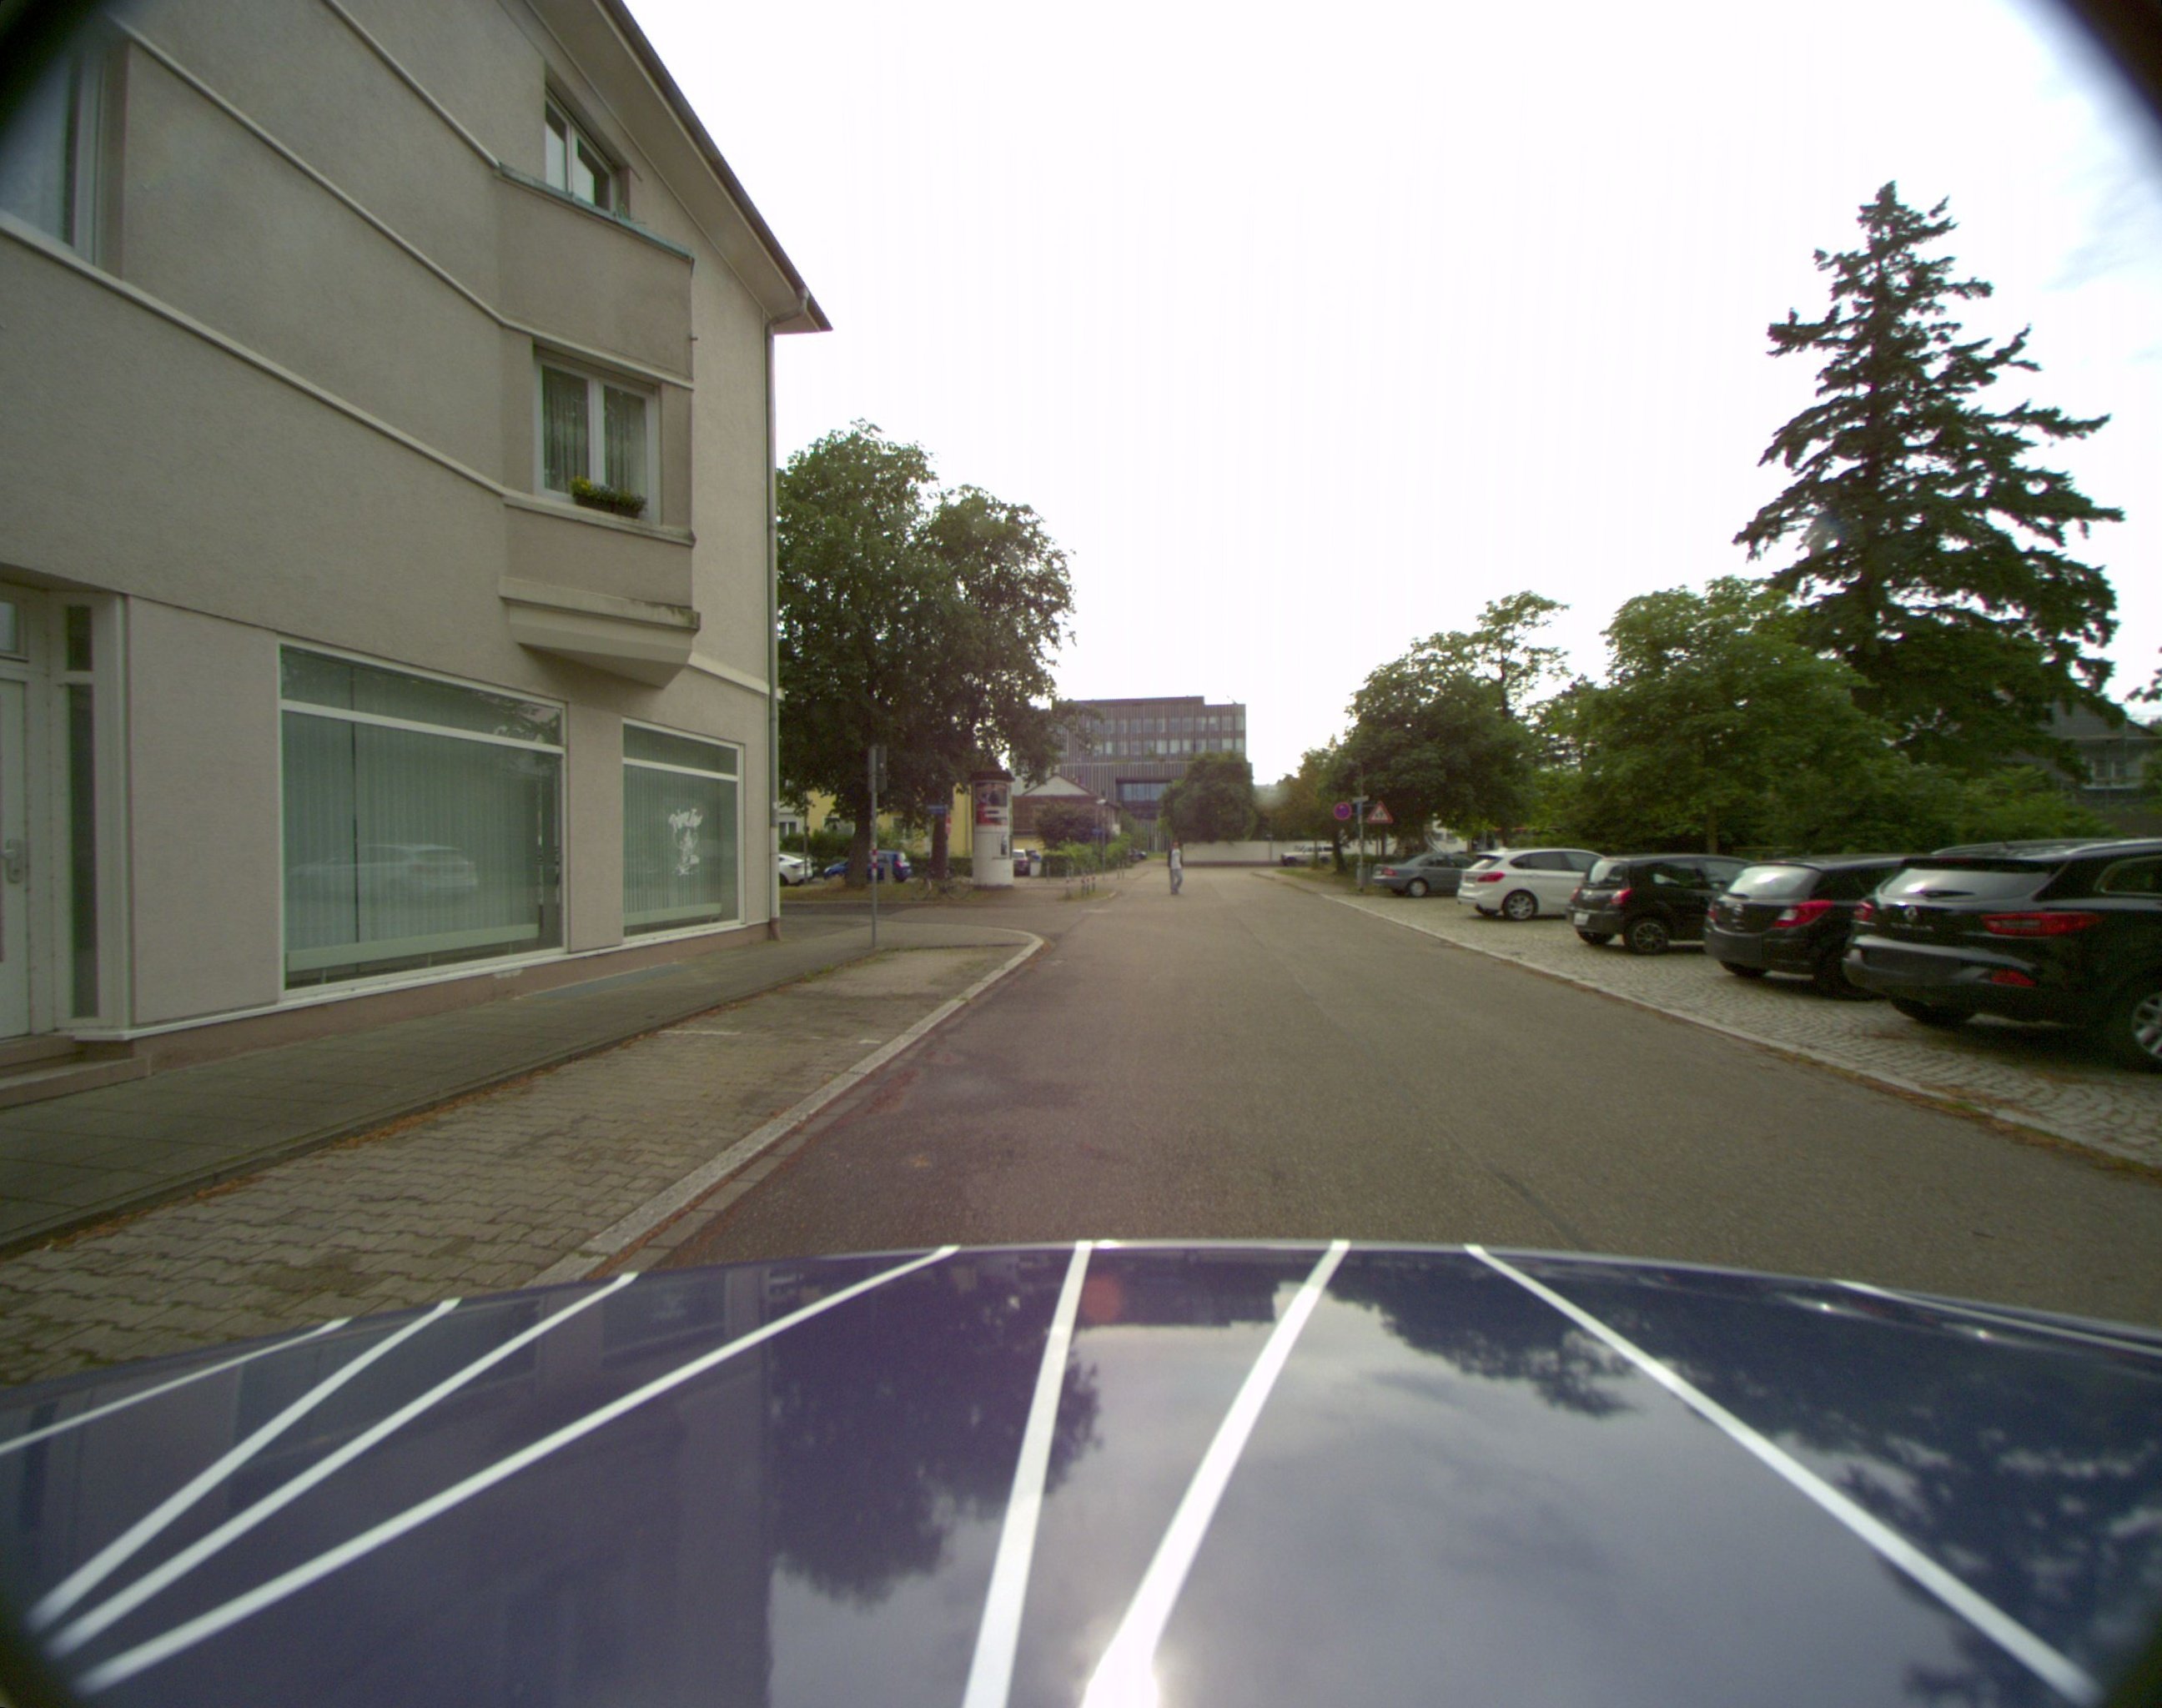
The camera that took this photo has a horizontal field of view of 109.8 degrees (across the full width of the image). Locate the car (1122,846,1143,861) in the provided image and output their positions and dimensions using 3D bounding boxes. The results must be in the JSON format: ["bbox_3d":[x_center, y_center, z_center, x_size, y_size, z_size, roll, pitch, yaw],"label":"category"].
[{"bbox_3d":[5.613,-0.045,81.938,1.997,1.391,4.000,0,3,8],"label":"car"}]

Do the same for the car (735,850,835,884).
[{"bbox_3d":[-14.551,0.636,37.493,4.163,1.492,1.719,-1,3,2],"label":"car"}]

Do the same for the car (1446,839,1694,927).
[{"bbox_3d":[10.611,0.604,16.776,4.143,1.552,1.885,-4,2,7],"label":"car"}]

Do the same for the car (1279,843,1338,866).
[{"bbox_3d":[19.359,0.016,64.728,4.489,1.849,1.999,-1,3,4],"label":"car"}]

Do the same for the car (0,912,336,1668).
[{"bbox_3d":[-3.270,0.955,0.302,1.760,1.481,3.938,0,1,8],"label":"car"}]

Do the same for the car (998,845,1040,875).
[{"bbox_3d":[-3.435,0.277,42.766,1.841,1.601,4.000,0,1,3],"label":"car"}]

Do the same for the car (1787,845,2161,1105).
[{"bbox_3d":[8.439,0.798,5.804,4.062,1.688,1.918,-1,1,11],"label":"car"}]

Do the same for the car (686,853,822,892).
[{"bbox_3d":[-13.648,0.750,31.931,4.879,1.557,1.903,0,1,2],"label":"car"}]

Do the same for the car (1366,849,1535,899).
[{"bbox_3d":[11.737,0.618,24.344,4.555,1.446,1.680,-1,1,3],"label":"car"}]

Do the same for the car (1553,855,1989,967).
[{"bbox_3d":[9.995,0.811,11.421,4.552,1.455,1.843,-1,1,11],"label":"car"}]

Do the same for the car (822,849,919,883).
[{"bbox_3d":[-10.218,0.559,37.067,4.205,1.558,1.705,0,2,6],"label":"car"}]

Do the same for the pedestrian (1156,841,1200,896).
[{"bbox_3d":[3.289,0.481,25.811,0.880,1.825,1.216,-1,1,-34],"label":"pedestrian"}]

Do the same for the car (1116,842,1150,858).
[{"bbox_3d":[6.322,-0.521,92.525,3.994,1.828,2.000,0,3,9],"label":"car"}]

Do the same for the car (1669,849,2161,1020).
[{"bbox_3d":[9.356,0.792,8.230,4.350,1.557,1.843,-1,1,11],"label":"car"}]

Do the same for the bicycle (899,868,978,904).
[{"bbox_3d":[-4.176,0.937,22.328,2.181,0.980,0.512,-1,4,0],"label":"bicycle"}]
